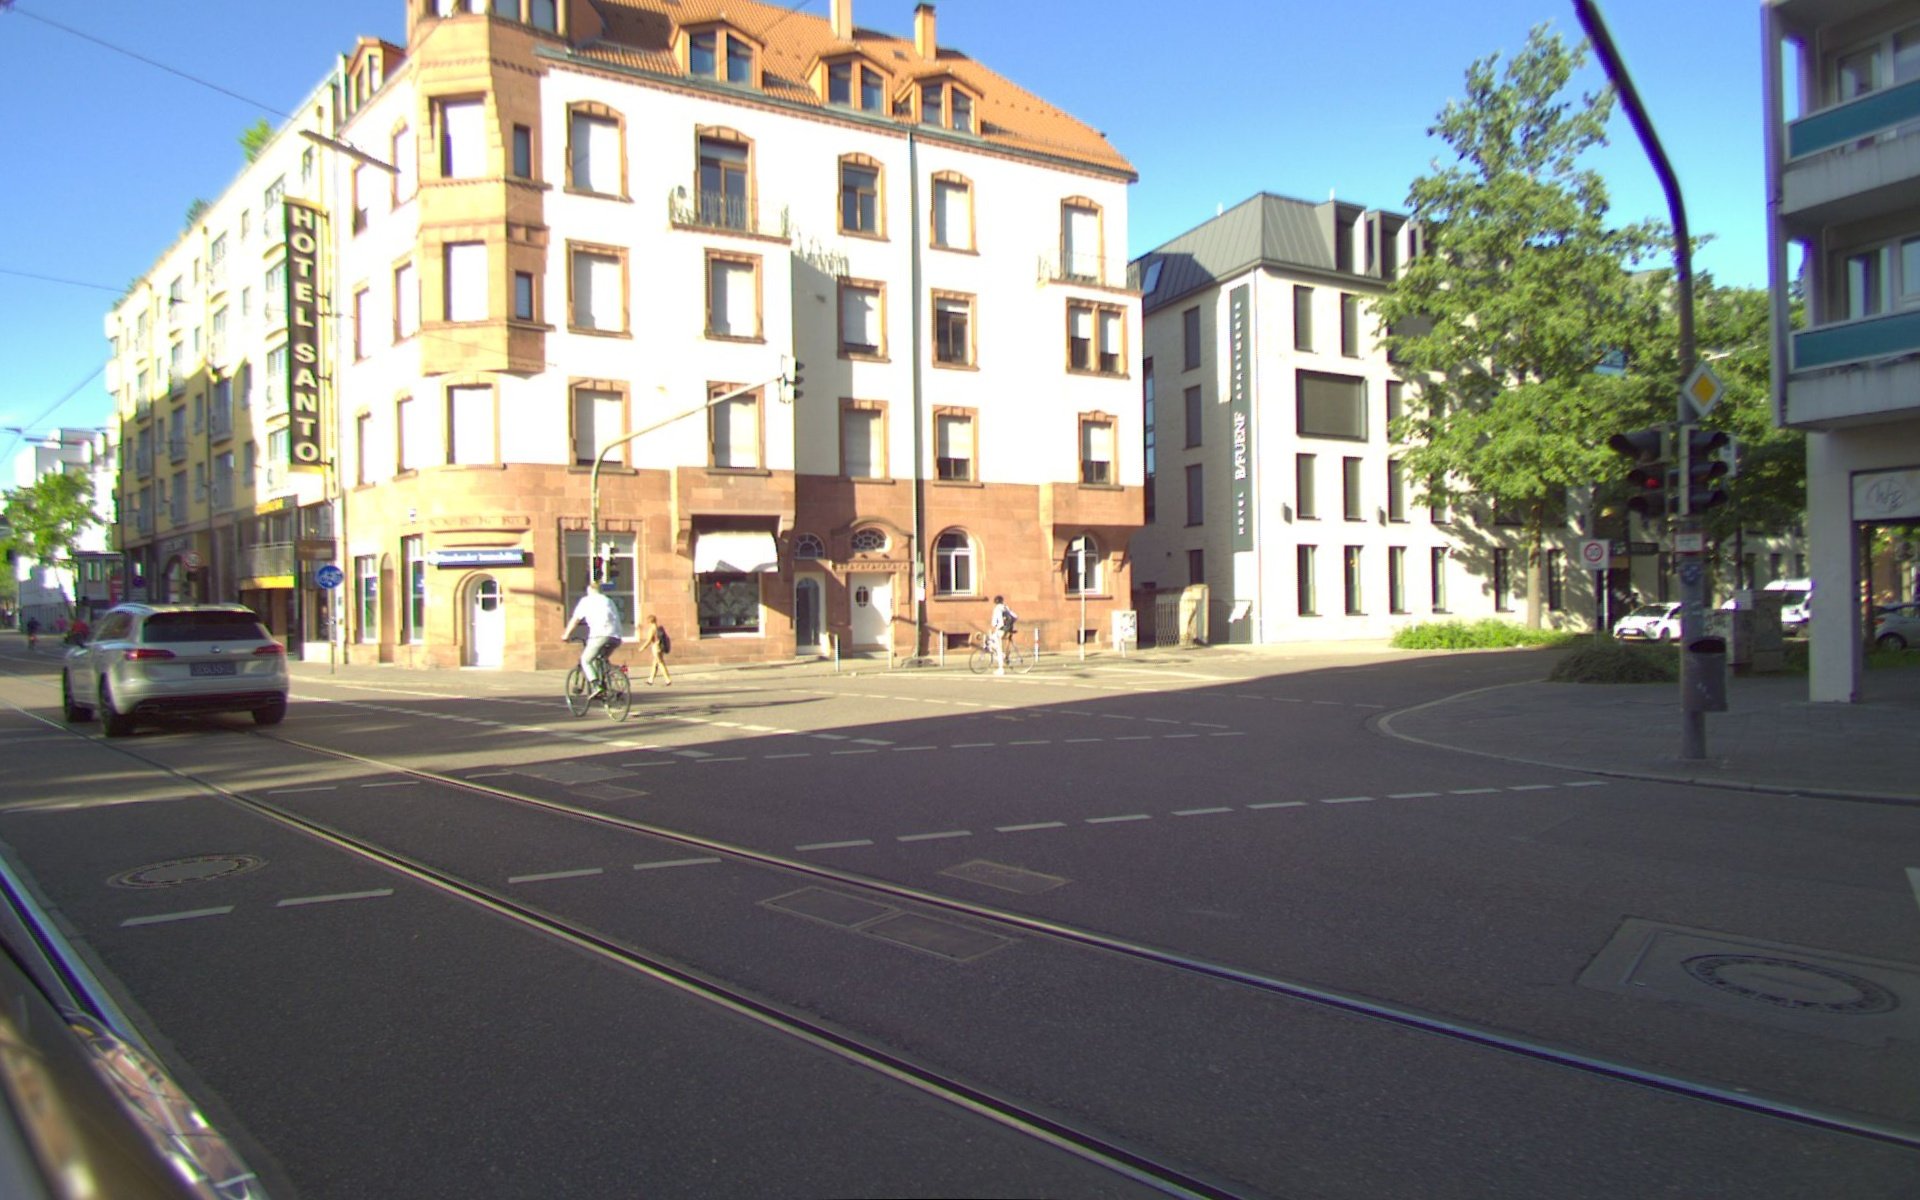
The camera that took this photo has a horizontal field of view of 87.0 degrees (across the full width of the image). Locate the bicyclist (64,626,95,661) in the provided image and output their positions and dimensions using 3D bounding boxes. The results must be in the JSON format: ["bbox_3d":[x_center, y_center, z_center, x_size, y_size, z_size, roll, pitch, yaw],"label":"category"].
[{"bbox_3d":[-35.588,1.757,40.881,1.467,1.391,0.728,-2,-1,40],"label":"bicyclist"}]

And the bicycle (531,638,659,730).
[{"bbox_3d":[-4.972,1.098,13.710,2.082,1.129,0.685,-2,-1,40],"label":"bicycle"}]

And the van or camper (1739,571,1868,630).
[{"bbox_3d":[35.798,0.016,42.943,5.380,2.383,2.007,-1,-1,-24],"label":"van or camper"}]

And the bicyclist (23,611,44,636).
[{"bbox_3d":[-52.166,1.319,56.996,1.226,1.391,0.717,-2,-1,40],"label":"bicyclist"}]

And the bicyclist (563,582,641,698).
[{"bbox_3d":[-4.800,0.526,13.555,0.778,1.494,0.675,-2,-1,40],"label":"bicyclist"}]

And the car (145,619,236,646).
[{"bbox_3d":[-47.336,1.978,62.316,1.784,1.560,4.189,1,0,41],"label":"car"}]

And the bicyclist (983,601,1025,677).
[{"bbox_3d":[1.049,0.914,24.142,0.961,1.777,0.615,-1,-1,2],"label":"bicyclist"}]

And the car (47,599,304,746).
[{"bbox_3d":[-11.225,0.912,14.357,4.559,1.757,1.973,-2,-1,40],"label":"car"}]

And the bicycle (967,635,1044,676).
[{"bbox_3d":[1.072,1.317,24.137,1.789,0.916,0.791,-1,-1,2],"label":"bicycle"}]

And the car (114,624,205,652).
[{"bbox_3d":[-49.967,2.355,63.226,1.784,1.621,4.189,-3,-2,41],"label":"car"}]

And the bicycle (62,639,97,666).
[{"bbox_3d":[-35.472,2.099,40.771,2.060,1.073,0.723,-2,-4,40],"label":"bicycle"}]

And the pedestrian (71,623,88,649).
[{"bbox_3d":[-60.459,2.484,69.484,0.778,1.777,0.708,-1,-1,32],"label":"pedestrian"}]

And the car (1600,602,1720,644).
[{"bbox_3d":[26.733,0.866,38.657,3.930,1.475,2.006,-1,-1,-25],"label":"car"}]

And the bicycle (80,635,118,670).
[{"bbox_3d":[-32.641,1.985,38.366,2.060,1.192,0.723,0,2,40],"label":"bicycle"}]

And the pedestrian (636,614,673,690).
[{"bbox_3d":[-6.486,1.094,21.493,0.515,1.564,0.537,-2,-1,39],"label":"pedestrian"}]

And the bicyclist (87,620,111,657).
[{"bbox_3d":[-32.812,1.476,38.565,0.678,1.386,0.584,-2,-1,40],"label":"bicyclist"}]

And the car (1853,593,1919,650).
[{"bbox_3d":[27.570,0.560,28.020,3.989,1.497,1.588,-3,0,34],"label":"car"}]

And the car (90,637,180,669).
[{"bbox_3d":[-52.351,3.317,64.241,1.784,1.825,4.189,1,0,41],"label":"car"}]

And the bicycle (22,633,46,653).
[{"bbox_3d":[-52.151,2.432,56.988,2.060,1.096,0.723,-2,-1,40],"label":"bicycle"}]

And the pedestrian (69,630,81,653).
[{"bbox_3d":[-62.028,2.913,70.915,0.499,1.629,0.566,-2,-1,40],"label":"pedestrian"}]

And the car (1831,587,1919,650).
[{"bbox_3d":[29.342,0.537,30.858,3.988,1.889,1.588,-1,-1,33],"label":"car"}]

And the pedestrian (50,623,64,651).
[{"bbox_3d":[-62.812,2.556,70.383,0.708,1.961,0.631,-2,-1,40],"label":"pedestrian"}]
